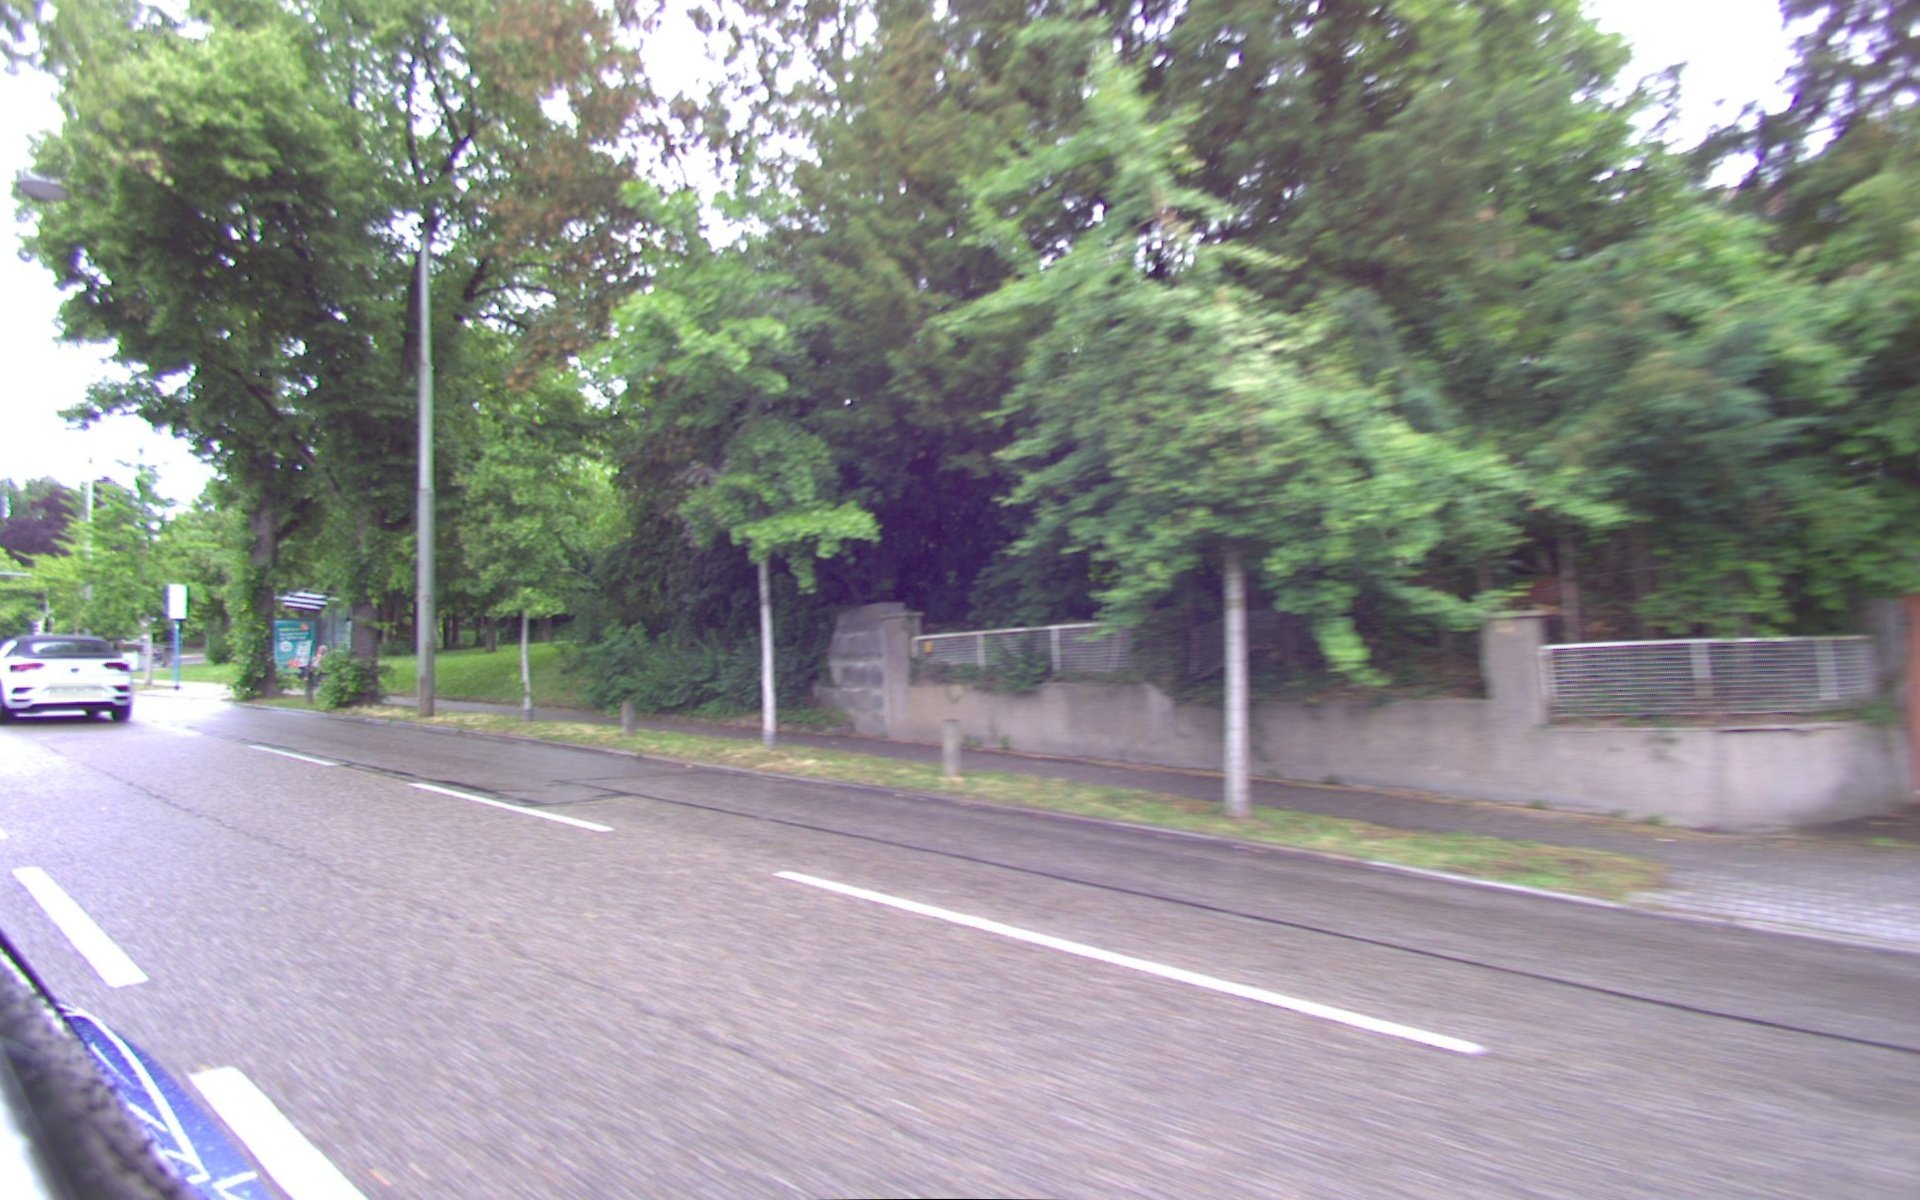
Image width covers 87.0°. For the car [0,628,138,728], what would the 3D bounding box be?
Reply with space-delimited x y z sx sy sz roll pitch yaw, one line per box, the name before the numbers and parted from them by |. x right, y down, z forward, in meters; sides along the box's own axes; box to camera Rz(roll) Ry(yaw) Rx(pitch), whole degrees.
car | -16.333 1.306 18.177 4.091 1.521 1.775 -1 -1 41

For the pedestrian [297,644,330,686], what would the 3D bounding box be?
pedestrian | -20.736 2.073 32.451 0.766 1.311 0.745 -1 -1 -41
